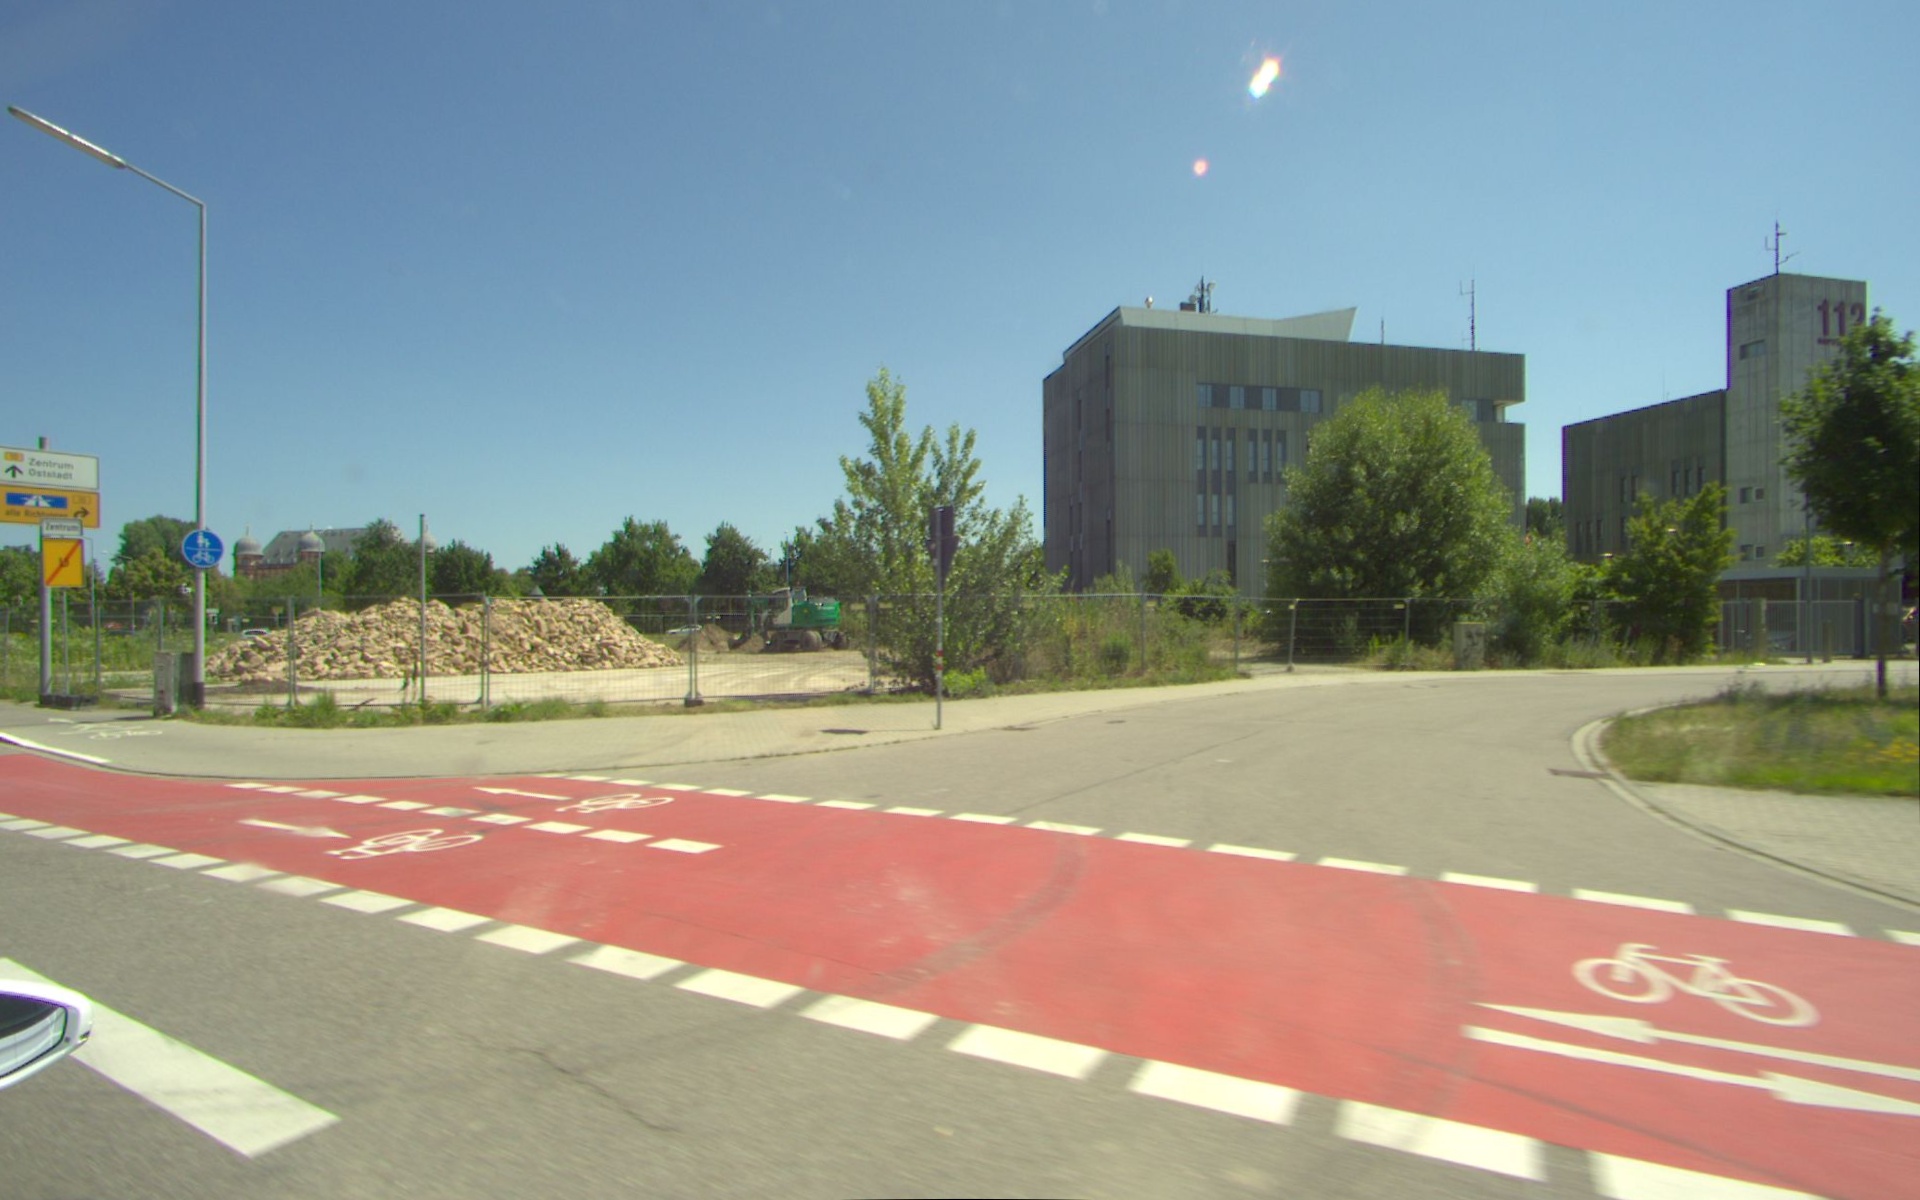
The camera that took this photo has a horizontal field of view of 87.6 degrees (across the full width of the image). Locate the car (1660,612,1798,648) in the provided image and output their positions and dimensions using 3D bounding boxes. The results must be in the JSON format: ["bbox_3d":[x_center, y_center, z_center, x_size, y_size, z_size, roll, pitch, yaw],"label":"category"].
[{"bbox_3d":[33.149,1.287,43.219,4.824,1.455,1.999,-1,0,-10],"label":"car"}]

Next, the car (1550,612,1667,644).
[{"bbox_3d":[32.054,1.350,49.524,4.988,1.455,1.997,-1,0,-15],"label":"car"}]

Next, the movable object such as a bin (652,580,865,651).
[{"bbox_3d":[-10.513,0.853,51.794,10.322,3.302,4.929,-1,-1,33],"label":"movable object such as a bin"}]
